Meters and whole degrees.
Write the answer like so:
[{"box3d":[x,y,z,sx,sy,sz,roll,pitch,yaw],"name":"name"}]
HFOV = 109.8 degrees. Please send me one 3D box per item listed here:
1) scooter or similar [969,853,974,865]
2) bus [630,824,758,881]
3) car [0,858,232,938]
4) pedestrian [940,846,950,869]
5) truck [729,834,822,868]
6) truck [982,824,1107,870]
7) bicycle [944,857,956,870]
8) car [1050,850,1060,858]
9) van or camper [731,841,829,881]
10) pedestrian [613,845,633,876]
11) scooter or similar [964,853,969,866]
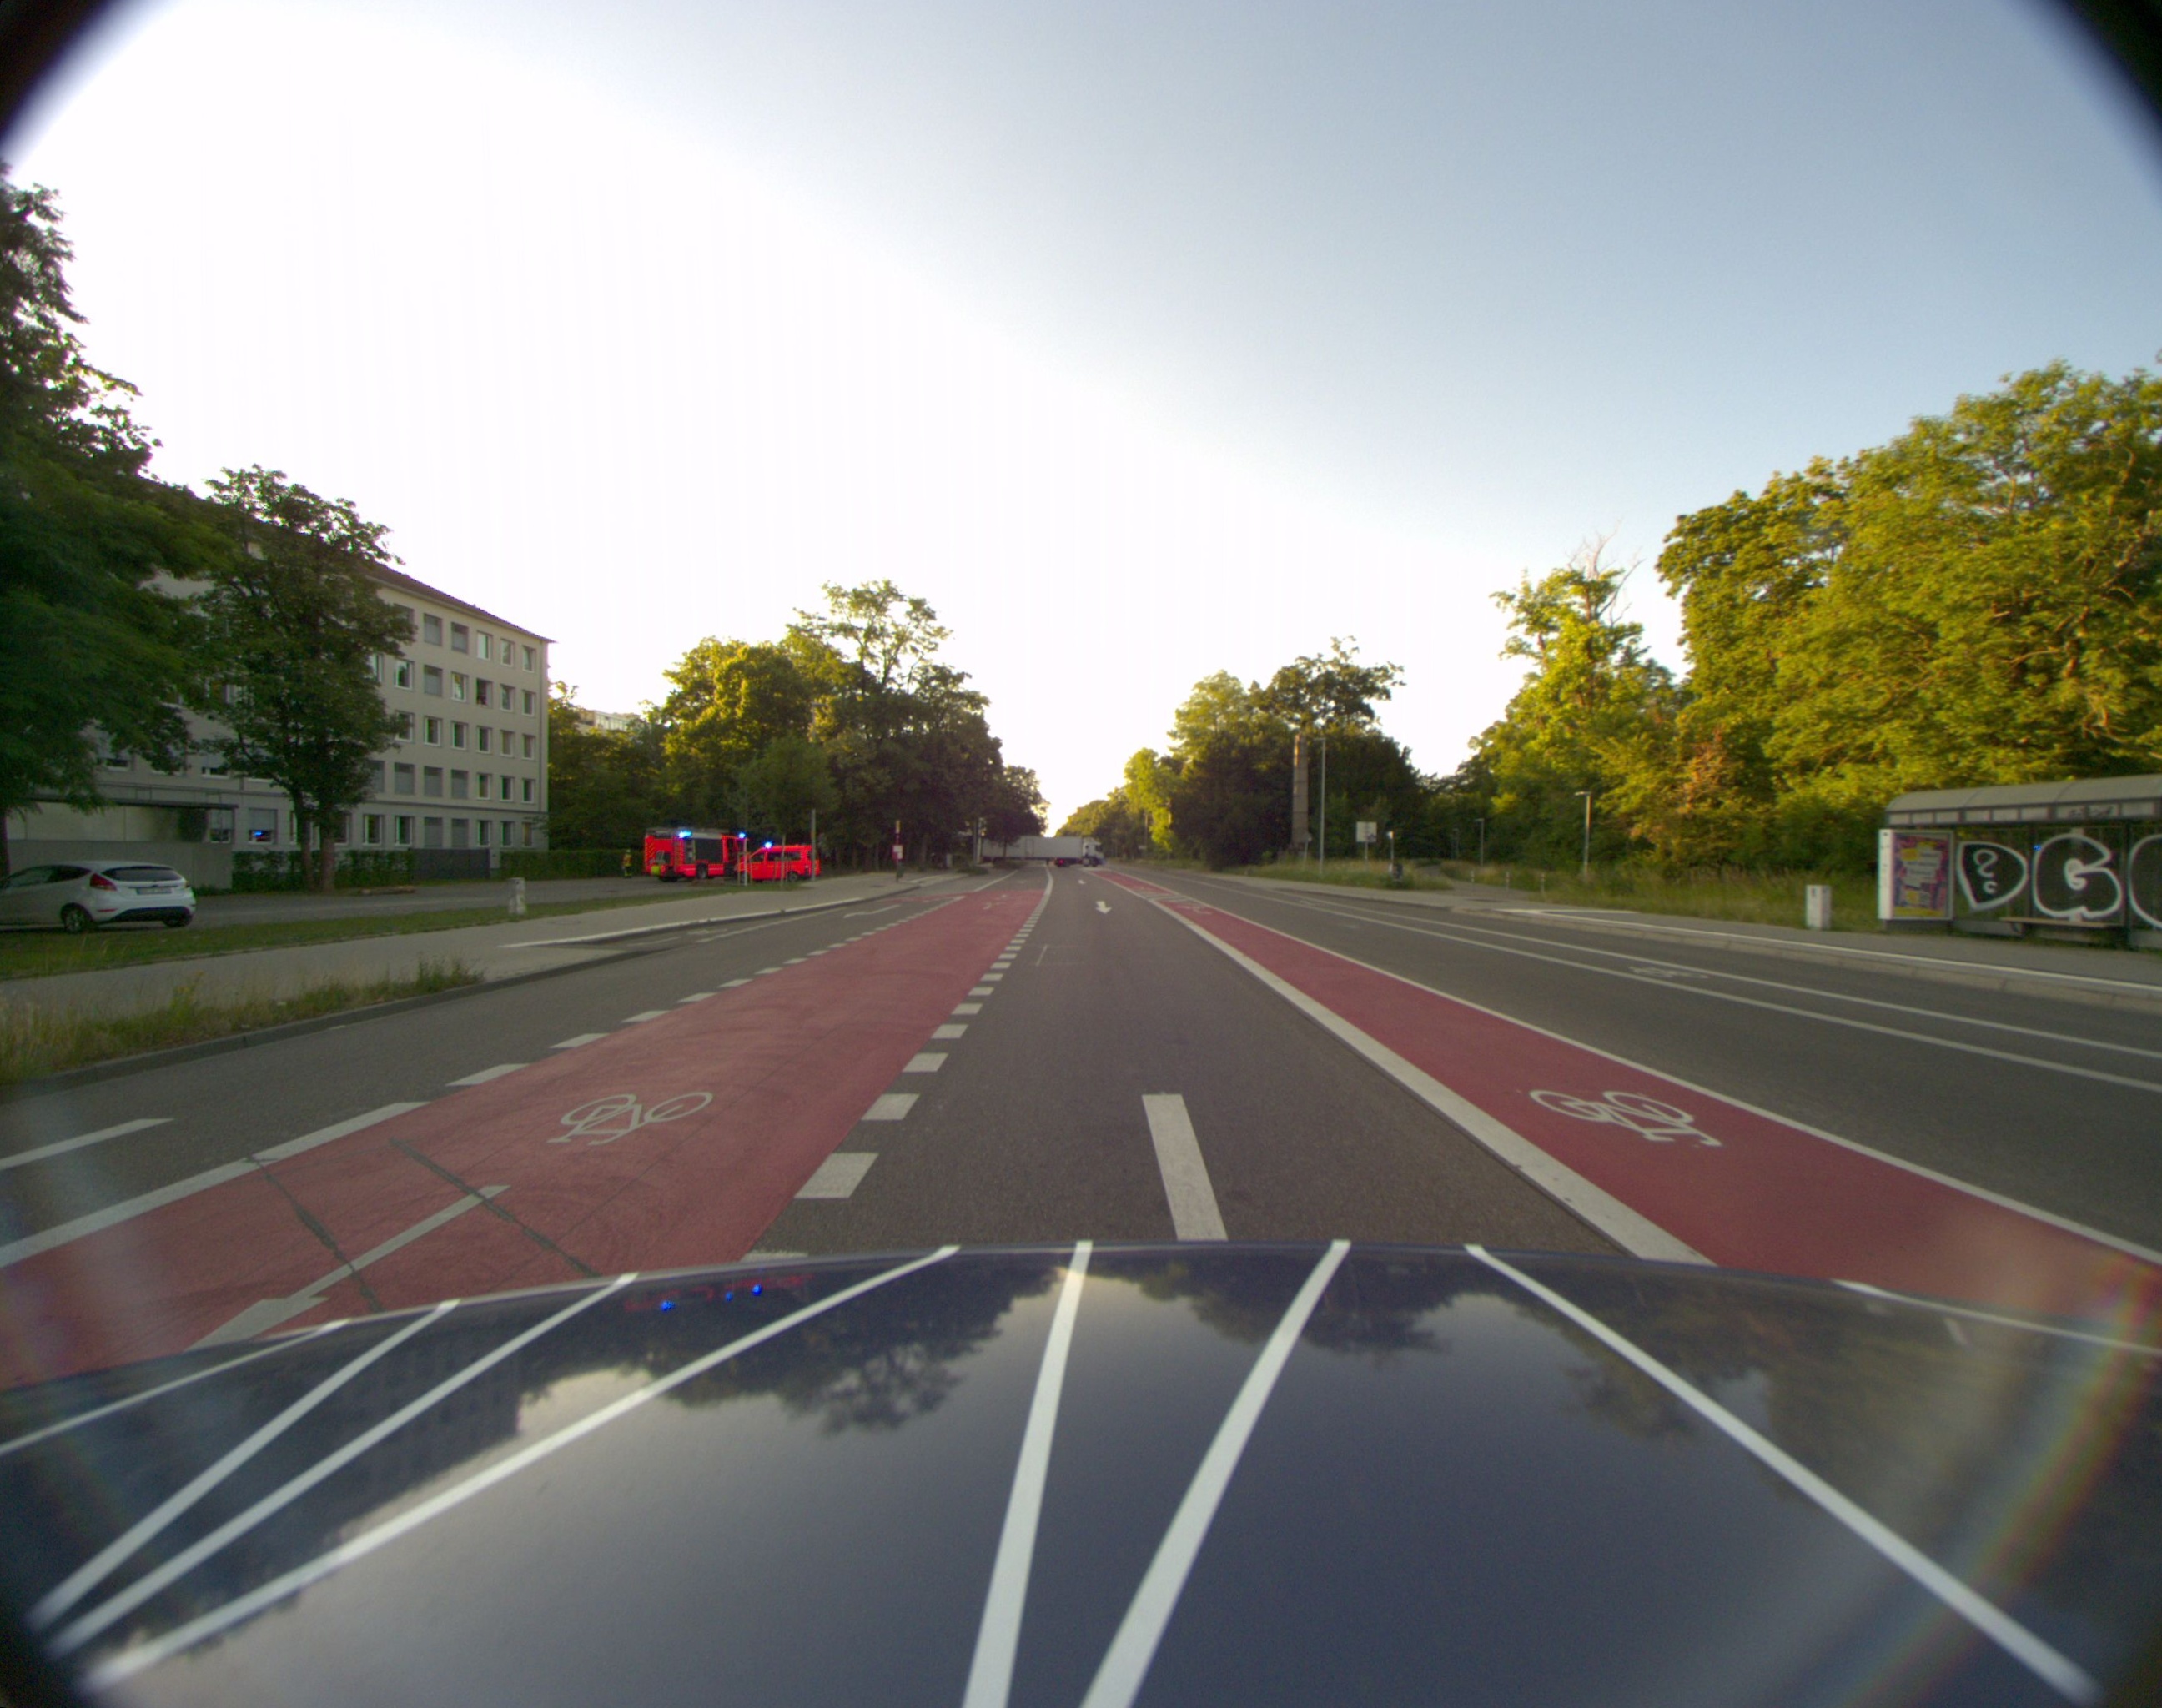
[{"box3d":[-11.958,0.581,83.158,0.483,1.274,1.139,2,0,-8],"name":"scooter or similar"},{"box3d":[-23.724,-0.126,47.234,2.993,3.177,7.968,-1,1,8],"name":"bus"},{"box3d":[-20.927,0.900,16.035,3.996,1.528,1.912,-1,1,4],"name":"car"},{"box3d":[-12.054,0.327,67.479,0.726,2.002,0.694,0,1,-23],"name":"pedestrian"},{"box3d":[-29.825,-0.266,74.157,8.645,3.192,2.765,0,0,17],"name":"truck"},{"box3d":[-4.362,-0.869,94.925,15.069,5.542,5.160,0,1,3],"name":"truck"},{"box3d":[-11.607,0.819,67.399,0.833,1.091,1.966,0,1,-16],"name":"bicycle"},{"box3d":[-5.424,-0.054,160.190,1.999,1.608,3.999,0,0,-1],"name":"car"},{"box3d":[-17.672,0.393,44.768,4.822,2.232,2.296,-1,1,7],"name":"van or camper"},{"box3d":[-29.790,0.412,49.439,0.772,2.002,0.826,0,1,9],"name":"pedestrian"},{"box3d":[-12.212,0.580,81.252,0.483,1.274,1.230,2,0,-8],"name":"scooter or similar"}]
